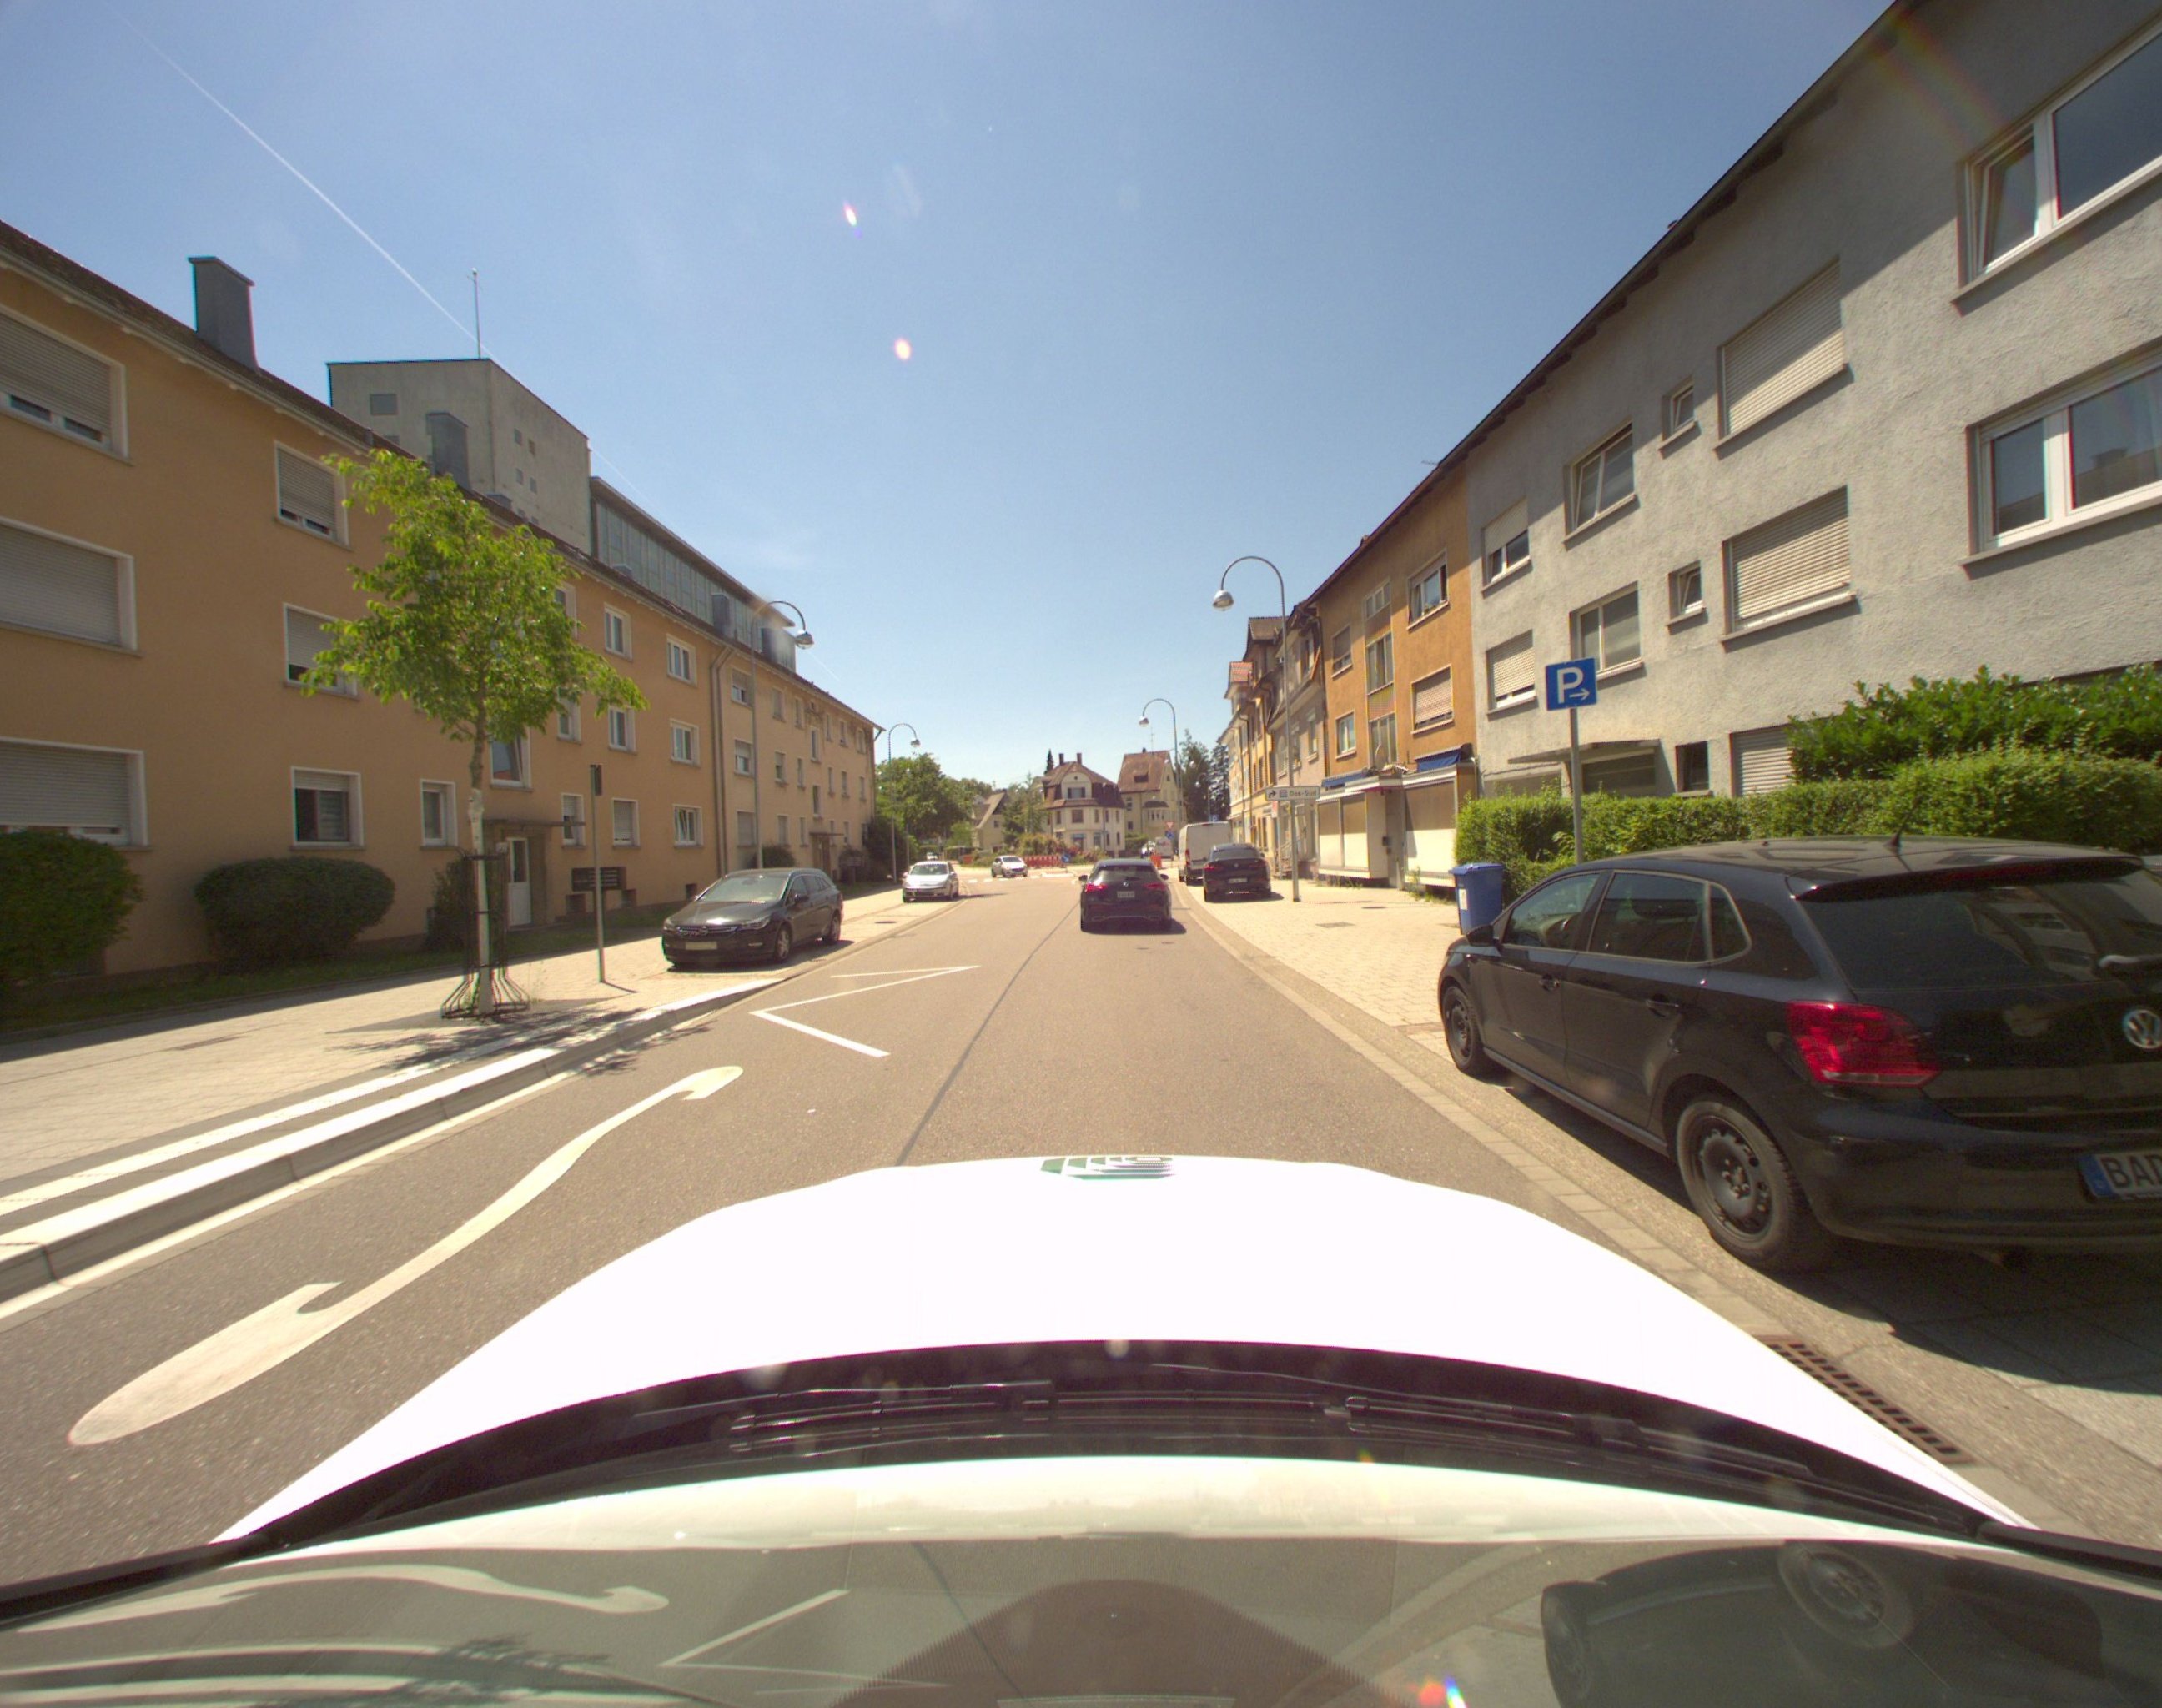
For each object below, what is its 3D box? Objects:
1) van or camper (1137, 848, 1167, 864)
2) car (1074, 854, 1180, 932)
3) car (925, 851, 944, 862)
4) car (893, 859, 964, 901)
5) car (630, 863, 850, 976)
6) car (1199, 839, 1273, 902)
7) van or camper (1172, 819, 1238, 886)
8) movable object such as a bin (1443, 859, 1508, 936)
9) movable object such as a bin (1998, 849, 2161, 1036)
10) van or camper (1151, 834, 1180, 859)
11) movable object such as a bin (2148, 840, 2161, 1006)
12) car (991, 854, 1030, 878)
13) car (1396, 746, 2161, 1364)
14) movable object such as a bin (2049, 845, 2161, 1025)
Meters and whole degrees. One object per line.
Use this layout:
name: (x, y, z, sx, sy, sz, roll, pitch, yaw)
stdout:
van or camper: (9.495, 0.269, 108.746, 1.975, 2.172, 5.446, 0, -1, 28)
car: (0.921, 0.763, 17.281, 1.946, 1.427, 4.001, -1, -1, 2)
car: (-23.689, 0.404, 131.662, 1.774, 1.597, 3.931, -2, -2, 10)
car: (-5.662, 0.930, 30.778, 1.988, 1.420, 4.086, -1, 0, -1)
car: (-5.568, 0.970, 14.039, 1.851, 1.506, 4.562, 0, 1, 0)
car: (4.607, 0.438, 24.351, 1.884, 1.607, 4.377, -4, 0, 10)
van or camper: (5.300, -0.074, 35.649, 2.156, 2.588, 5.770, -3, 0, 3)
movable object such as a bin: (5.853, 0.630, 12.115, 0.591, 1.077, 0.647, -3, 0, 1)
movable object such as a bin: (6.375, 0.528, 5.150, 0.485, 1.104, 0.556, -3, 0, 1)
van or camper: (9.248, -0.824, 89.248, 2.187, 2.610, 4.020, -2, 0, 19)
movable object such as a bin: (7.596, 0.449, 5.138, 0.733, 1.109, 0.723, -3, 0, 2)
car: (-4.843, 0.793, 55.706, 1.666, 1.496, 3.732, -3, 0, -21)
car: (3.156, 0.495, 4.177, 1.720, 1.633, 4.006, -5, 0, 5)
movable object such as a bin: (6.895, 0.496, 5.167, 0.551, 1.085, 0.776, -3, 0, 2)
